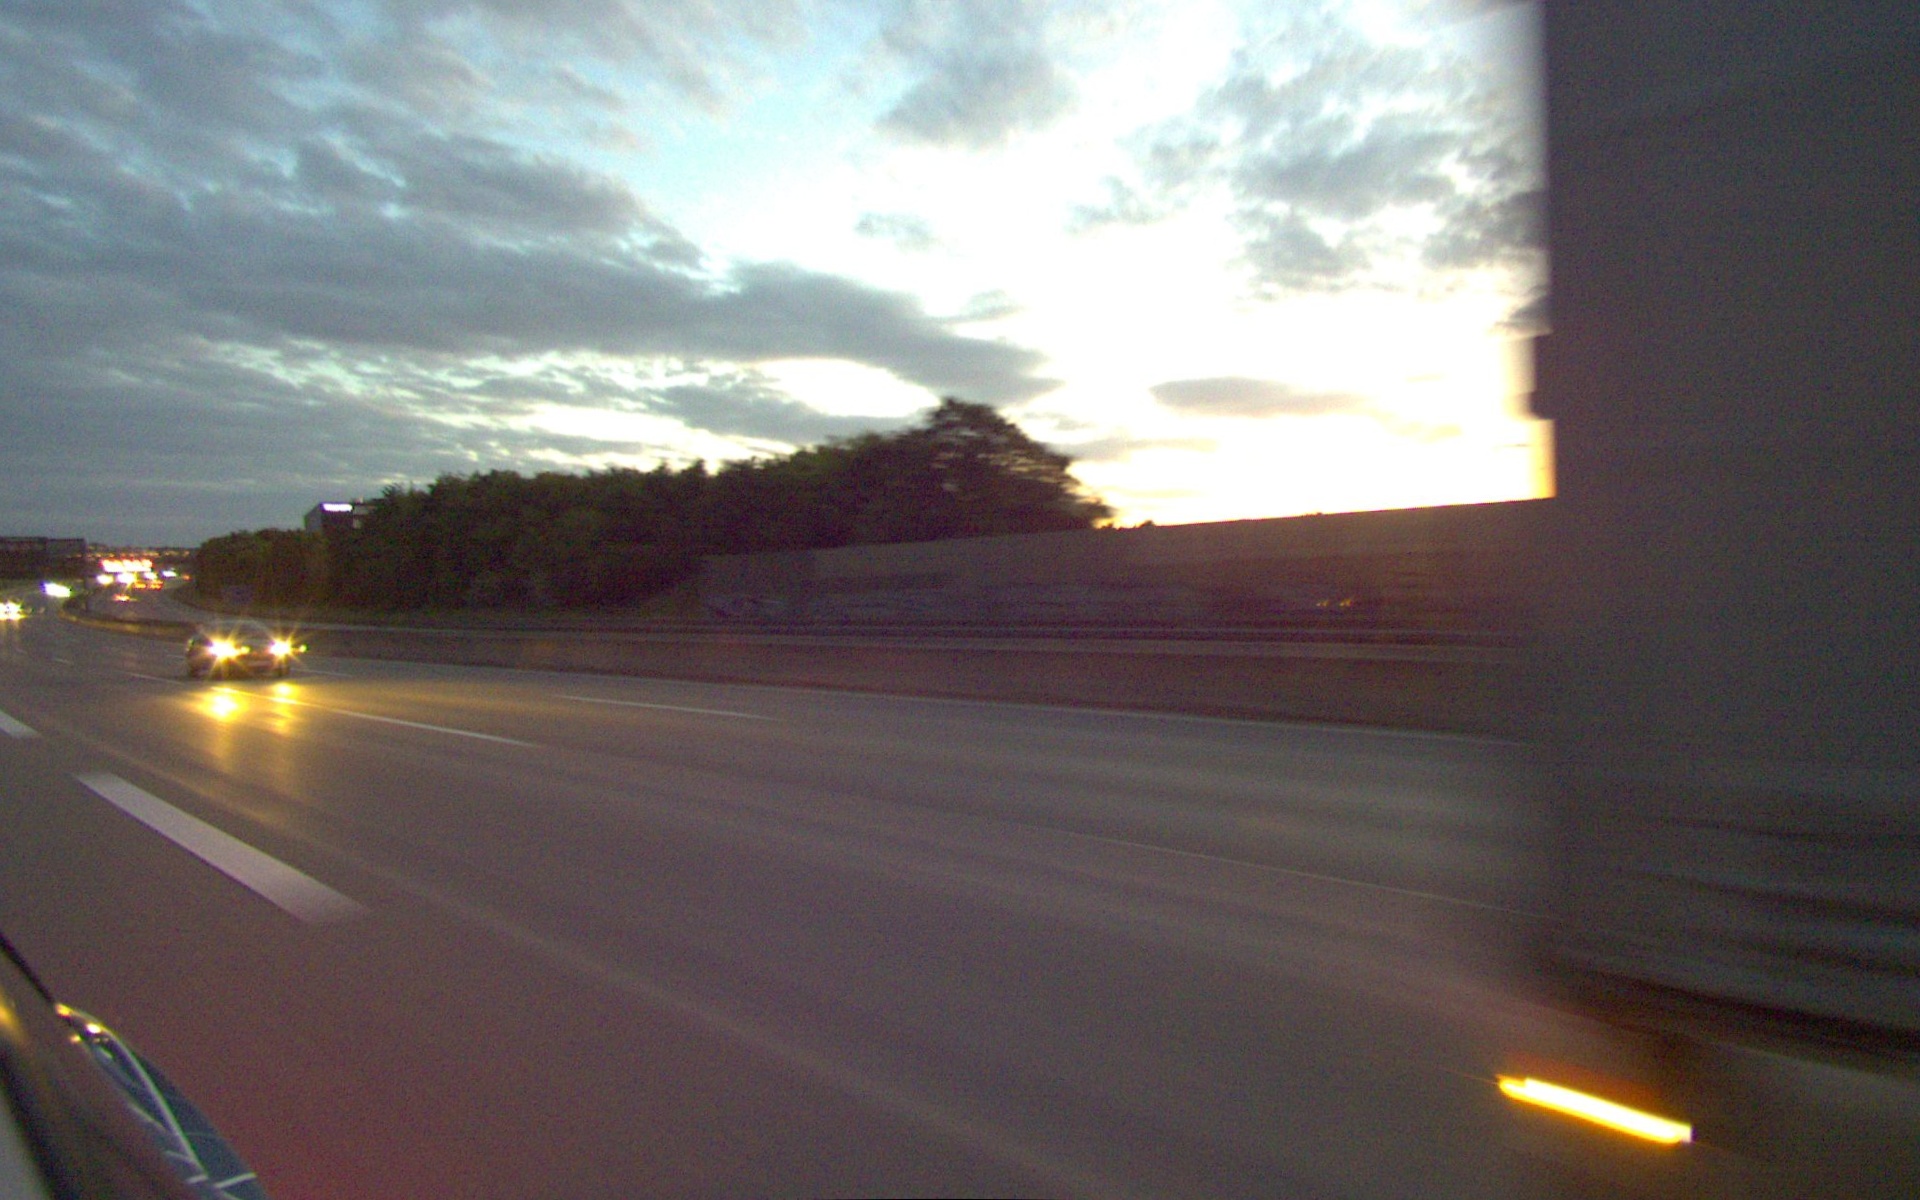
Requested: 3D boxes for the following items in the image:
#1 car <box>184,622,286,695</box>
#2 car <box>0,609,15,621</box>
[{"bbox_3d":[-18.950,1.451,26.391,1.692,1.490,4.005,-1,3,-43],"label":"car"},{"bbox_3d":[-145.311,2.271,154.336,1.630,1.676,3.779,-1,3,-44],"label":"car"}]
